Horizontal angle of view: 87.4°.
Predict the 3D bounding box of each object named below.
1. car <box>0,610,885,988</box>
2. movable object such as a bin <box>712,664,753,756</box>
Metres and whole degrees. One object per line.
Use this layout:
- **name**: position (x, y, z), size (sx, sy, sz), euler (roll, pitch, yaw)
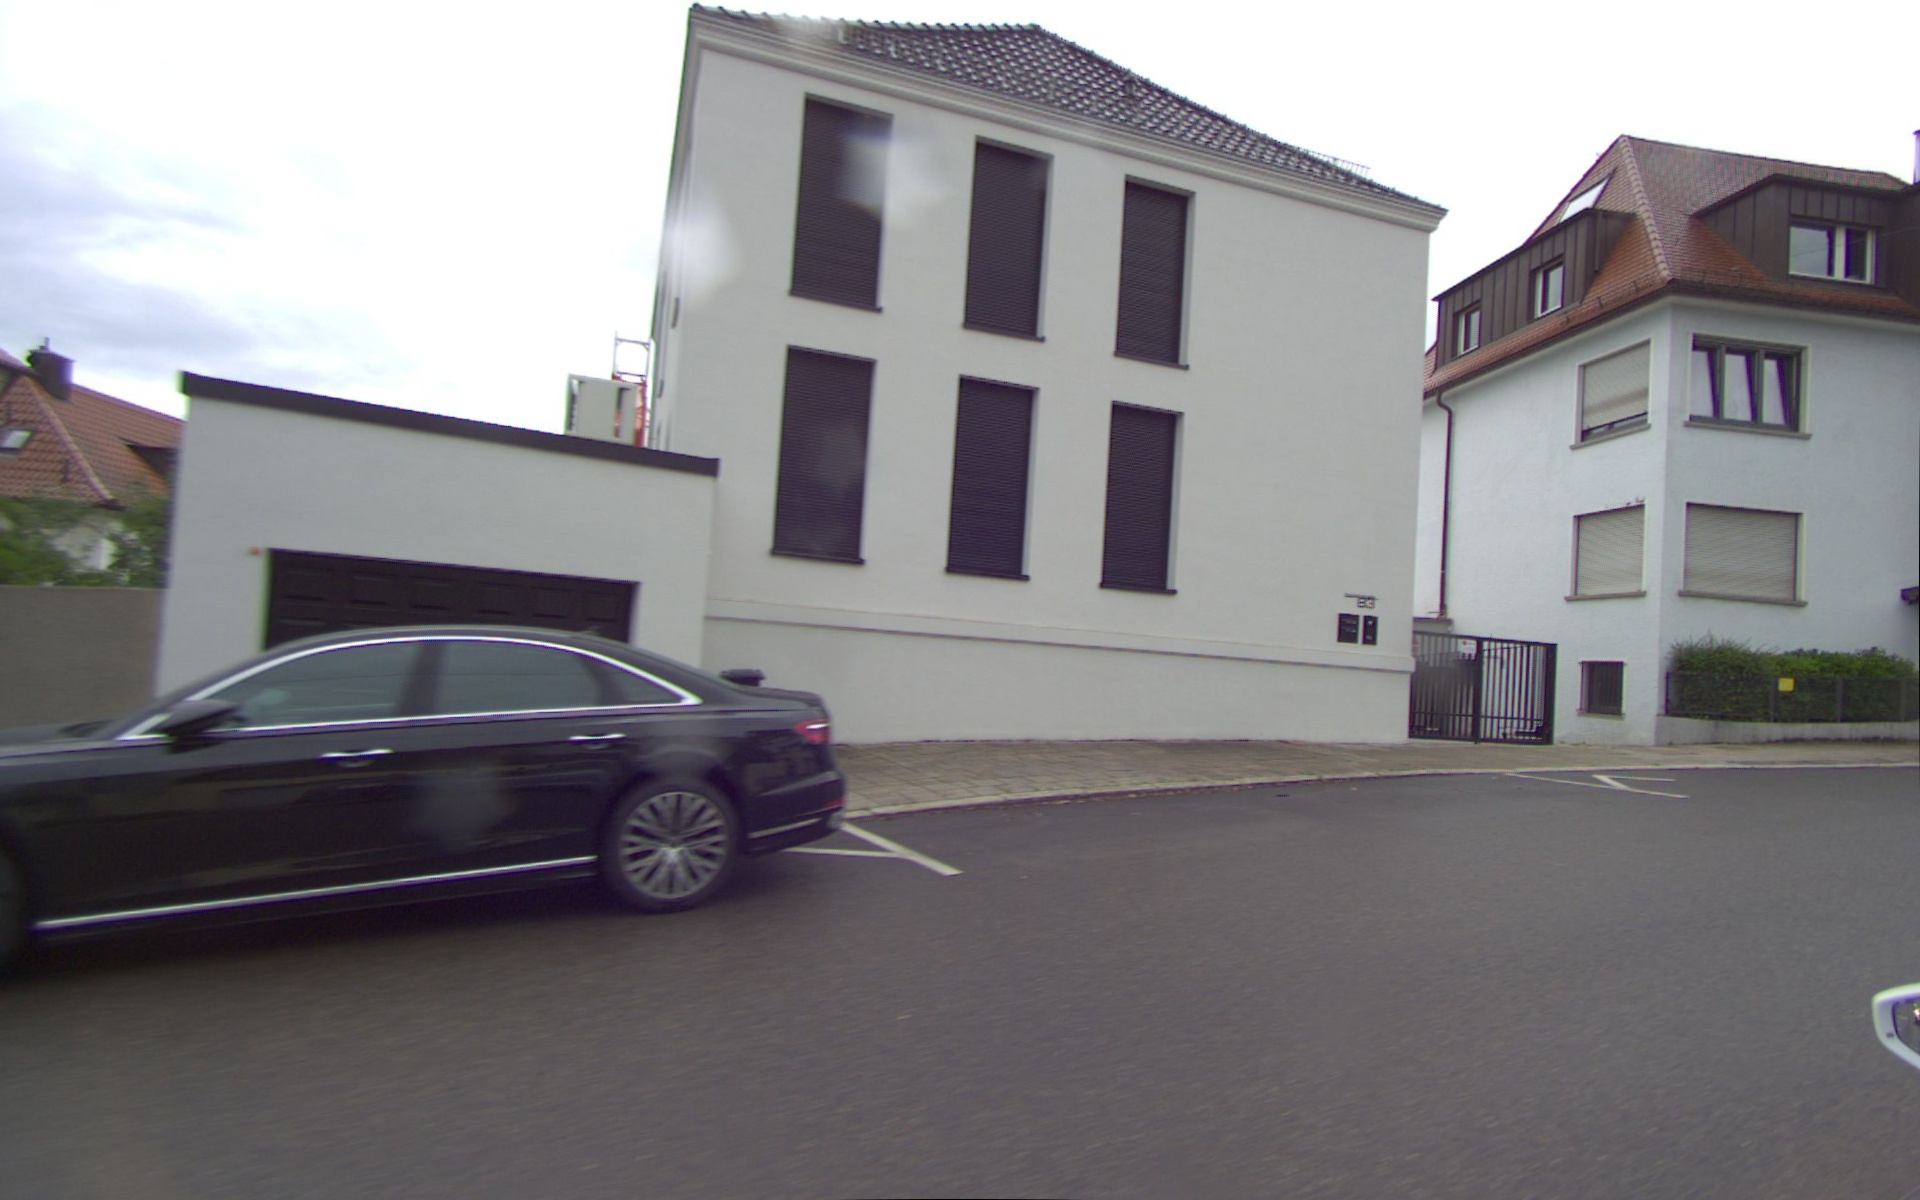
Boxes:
- **car**: position (-3.030, 0.855, 5.464), size (4.928, 1.505, 1.822), euler (2, -2, -28)
- **movable object such as a bin**: position (-2.365, 1.133, 10.435), size (0.280, 0.924, 0.368), euler (3, -4, -34)
